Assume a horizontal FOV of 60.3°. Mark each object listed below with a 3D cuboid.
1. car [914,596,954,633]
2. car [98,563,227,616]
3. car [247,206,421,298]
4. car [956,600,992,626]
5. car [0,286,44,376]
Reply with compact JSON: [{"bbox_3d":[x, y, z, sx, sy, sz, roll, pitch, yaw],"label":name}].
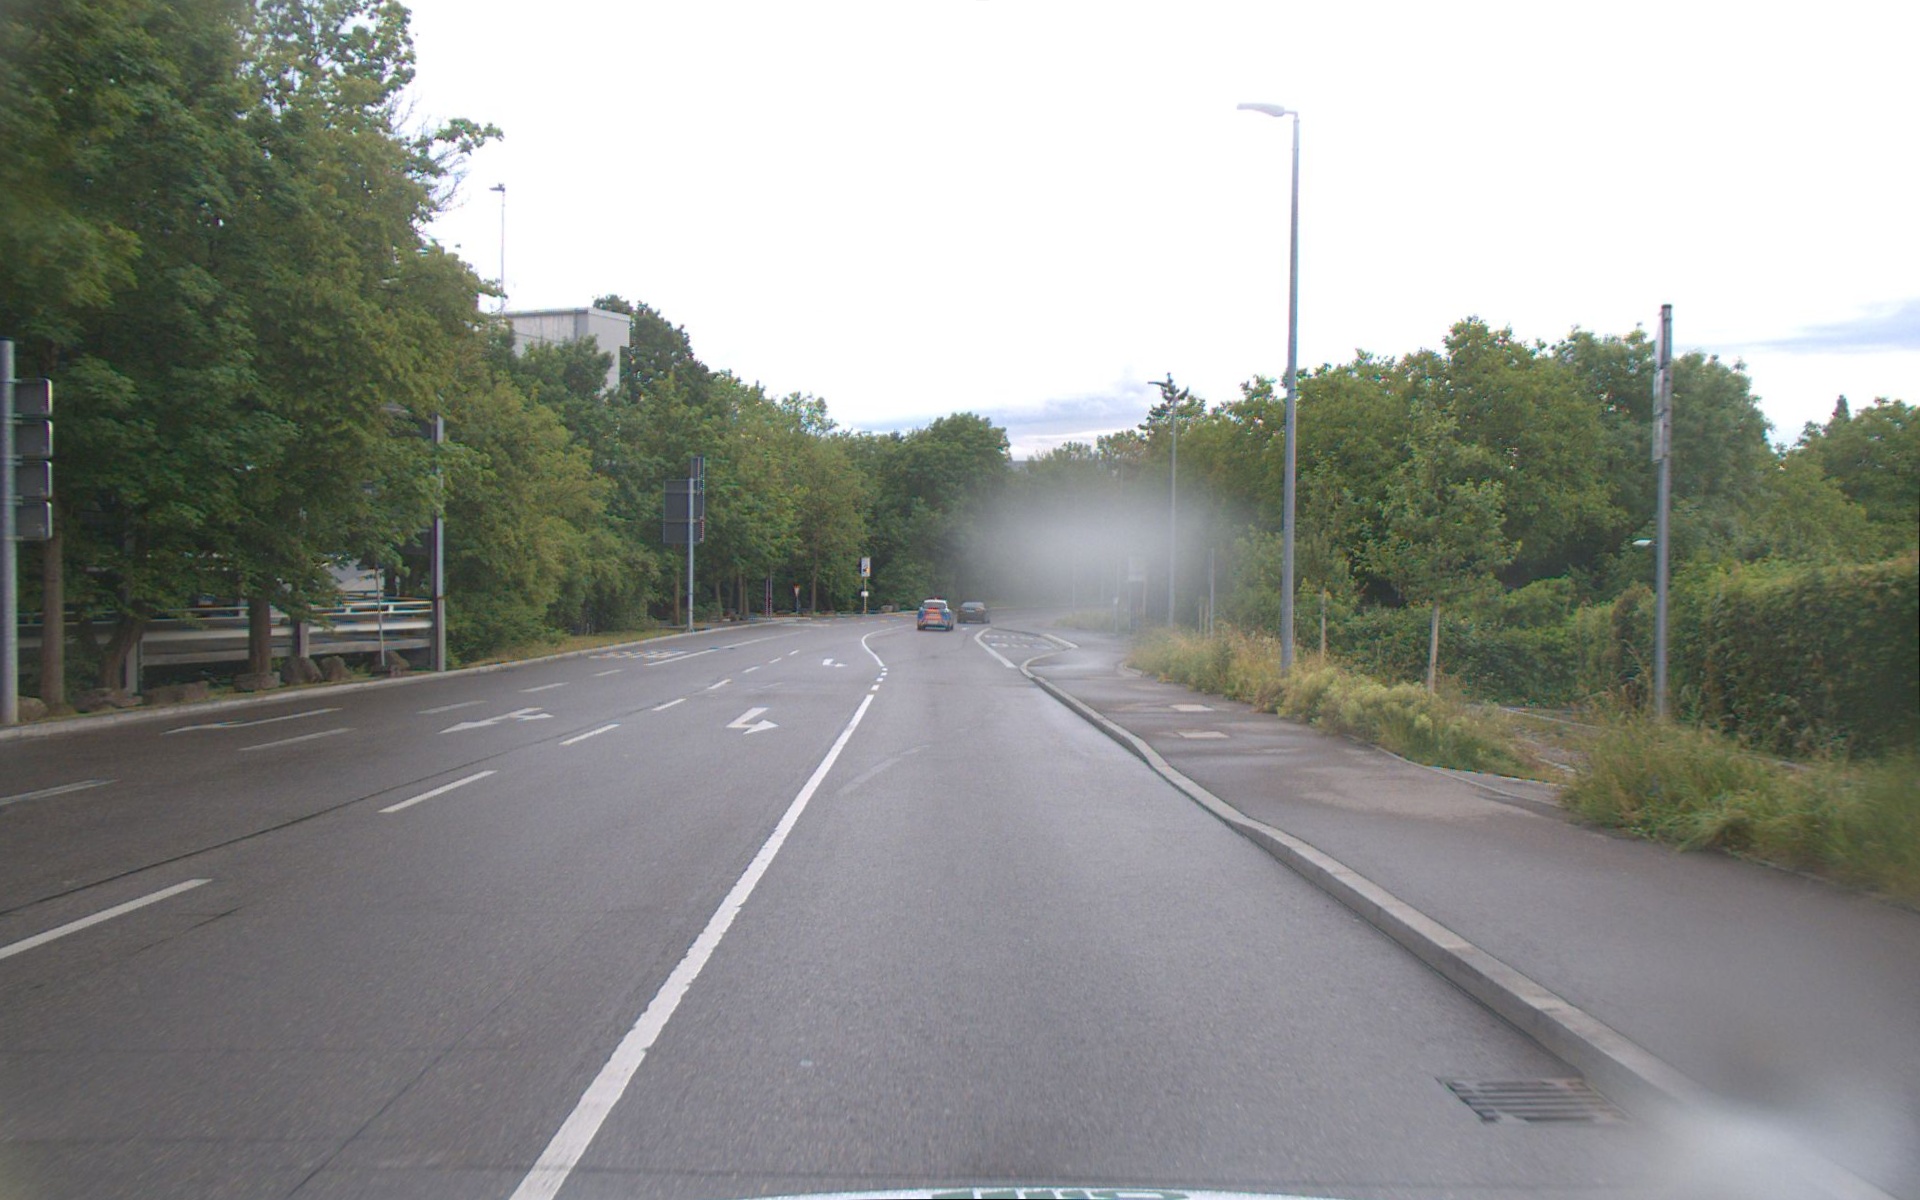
[{"bbox_3d":[-1.324,0.731,85.884,1.952,1.718,4.002,-1,2,1],"label":"car"},{"bbox_3d":[-23.962,-0.308,49.715,3.391,1.545,1.586,0,0,21],"label":"car"},{"bbox_3d":[-15.710,-8.679,41.495,3.910,1.545,1.998,-1,0,27],"label":"car"},{"bbox_3d":[0.909,0.821,106.013,1.886,1.512,3.803,0,2,8],"label":"car"},{"bbox_3d":[-19.549,-5.119,31.337,3.911,1.545,1.998,3,2,27],"label":"car"}]
